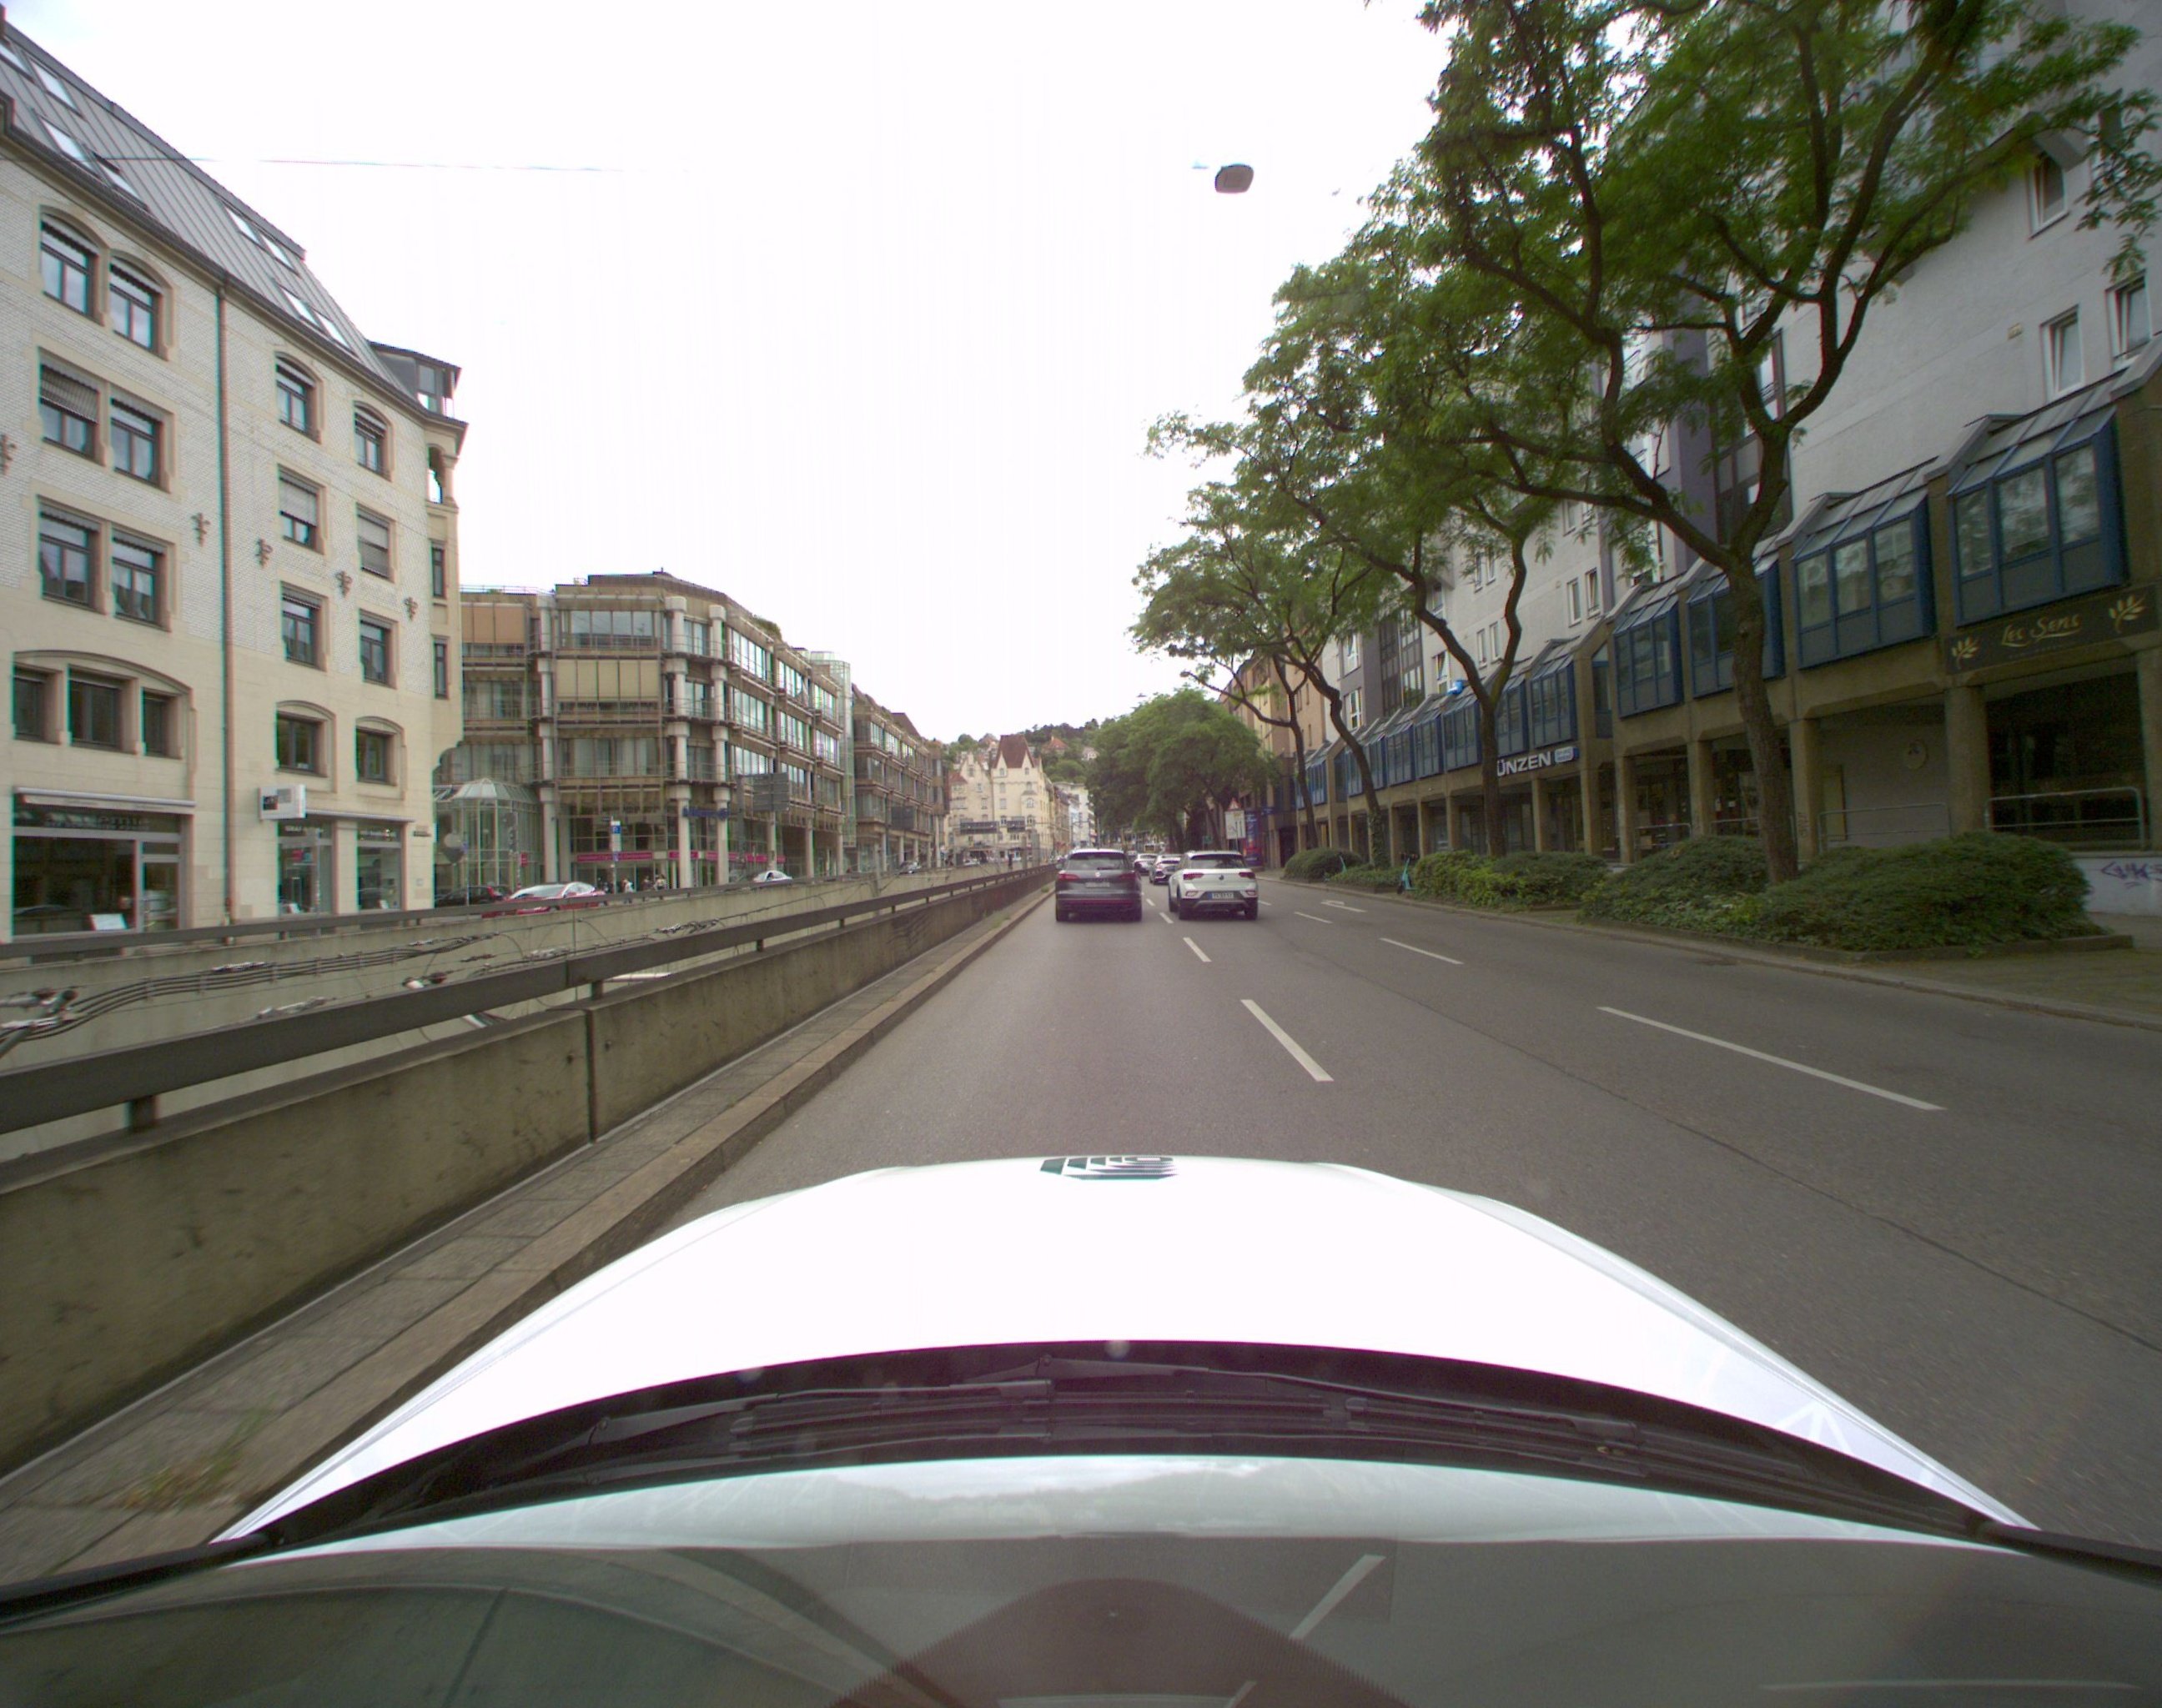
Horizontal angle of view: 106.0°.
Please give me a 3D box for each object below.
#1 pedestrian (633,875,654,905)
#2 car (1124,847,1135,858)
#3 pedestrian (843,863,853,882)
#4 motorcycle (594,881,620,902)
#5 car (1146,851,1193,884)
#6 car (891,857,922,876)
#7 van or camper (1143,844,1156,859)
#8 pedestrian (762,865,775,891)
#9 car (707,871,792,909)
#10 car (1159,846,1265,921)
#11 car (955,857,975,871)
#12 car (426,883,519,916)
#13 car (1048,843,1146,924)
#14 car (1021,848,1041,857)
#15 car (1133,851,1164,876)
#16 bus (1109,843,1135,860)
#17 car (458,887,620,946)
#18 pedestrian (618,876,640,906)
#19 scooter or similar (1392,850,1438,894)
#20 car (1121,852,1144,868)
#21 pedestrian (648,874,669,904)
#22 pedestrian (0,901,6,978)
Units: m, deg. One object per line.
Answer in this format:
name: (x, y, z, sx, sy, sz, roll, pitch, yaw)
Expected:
pedestrian: (-23.394, 1.905, 43.556, 0.699, 1.544, 0.845, -2, 0, -6)
car: (8.948, -0.198, 150.417, 1.824, 1.874, 4.874, -3, 0, 3)
pedestrian: (-23.639, 1.855, 82.585, 0.773, 1.824, 0.711, -2, 0, -8)
motorcycle: (-30.261, 2.377, 52.017, 0.792, 1.257, 1.931, -2, 0, -11)
car: (4.158, 0.635, 38.806, 1.827, 1.432, 4.148, -2, -1, 1)
car: (-17.073, 1.199, 79.805, 1.986, 1.767, 4.282, -3, 0, 1)
van or camper: (15.417, -0.646, 183.179, 2.614, 3.178, 5.814, -2, 0, 6)
pedestrian: (-22.370, 1.703, 58.333, 0.530, 1.793, 0.695, -2, 0, 2)
car: (-16.667, 1.762, 41.292, 1.985, 1.585, 4.892, -3, 0, 4)
car: (3.007, 0.614, 19.477, 1.793, 1.545, 3.933, 0, 1, -2)
car: (-16.313, 1.384, 114.771, 1.986, 1.767, 4.282, -3, 0, 1)
car: (-30.980, 2.304, 41.532, 3.434, 1.436, 1.650, -3, 0, 0)
car: (0.260, 0.616, 19.513, 1.966, 1.695, 4.218, -1, 0, -4)
car: (-10.349, -0.231, 168.220, 3.990, 1.647, 1.817, -2, 0, -12)
car: (4.475, 0.591, 54.422, 1.825, 1.517, 3.769, -3, 0, 2)
bus: (9.528, -0.681, 185.135, 3.827, 3.532, 17.290, -3, 0, 9)
car: (-17.594, 1.983, 26.801, 1.987, 1.464, 4.884, -3, 0, 0)
pedestrian: (-24.142, 1.946, 43.489, 0.699, 1.544, 0.845, -2, 0, -6)
scooter or similar: (9.649, 0.526, 23.547, 1.100, 1.181, 0.429, -4, 0, 11)
car: (4.854, 0.574, 76.957, 1.827, 1.363, 3.765, -3, 0, -1)
pedestrian: (-22.647, 1.868, 43.661, 0.699, 1.544, 0.845, -2, 0, -6)
pedestrian: (-22.042, 1.741, 16.190, 0.477, 1.537, 0.584, -3, 0, 6)
